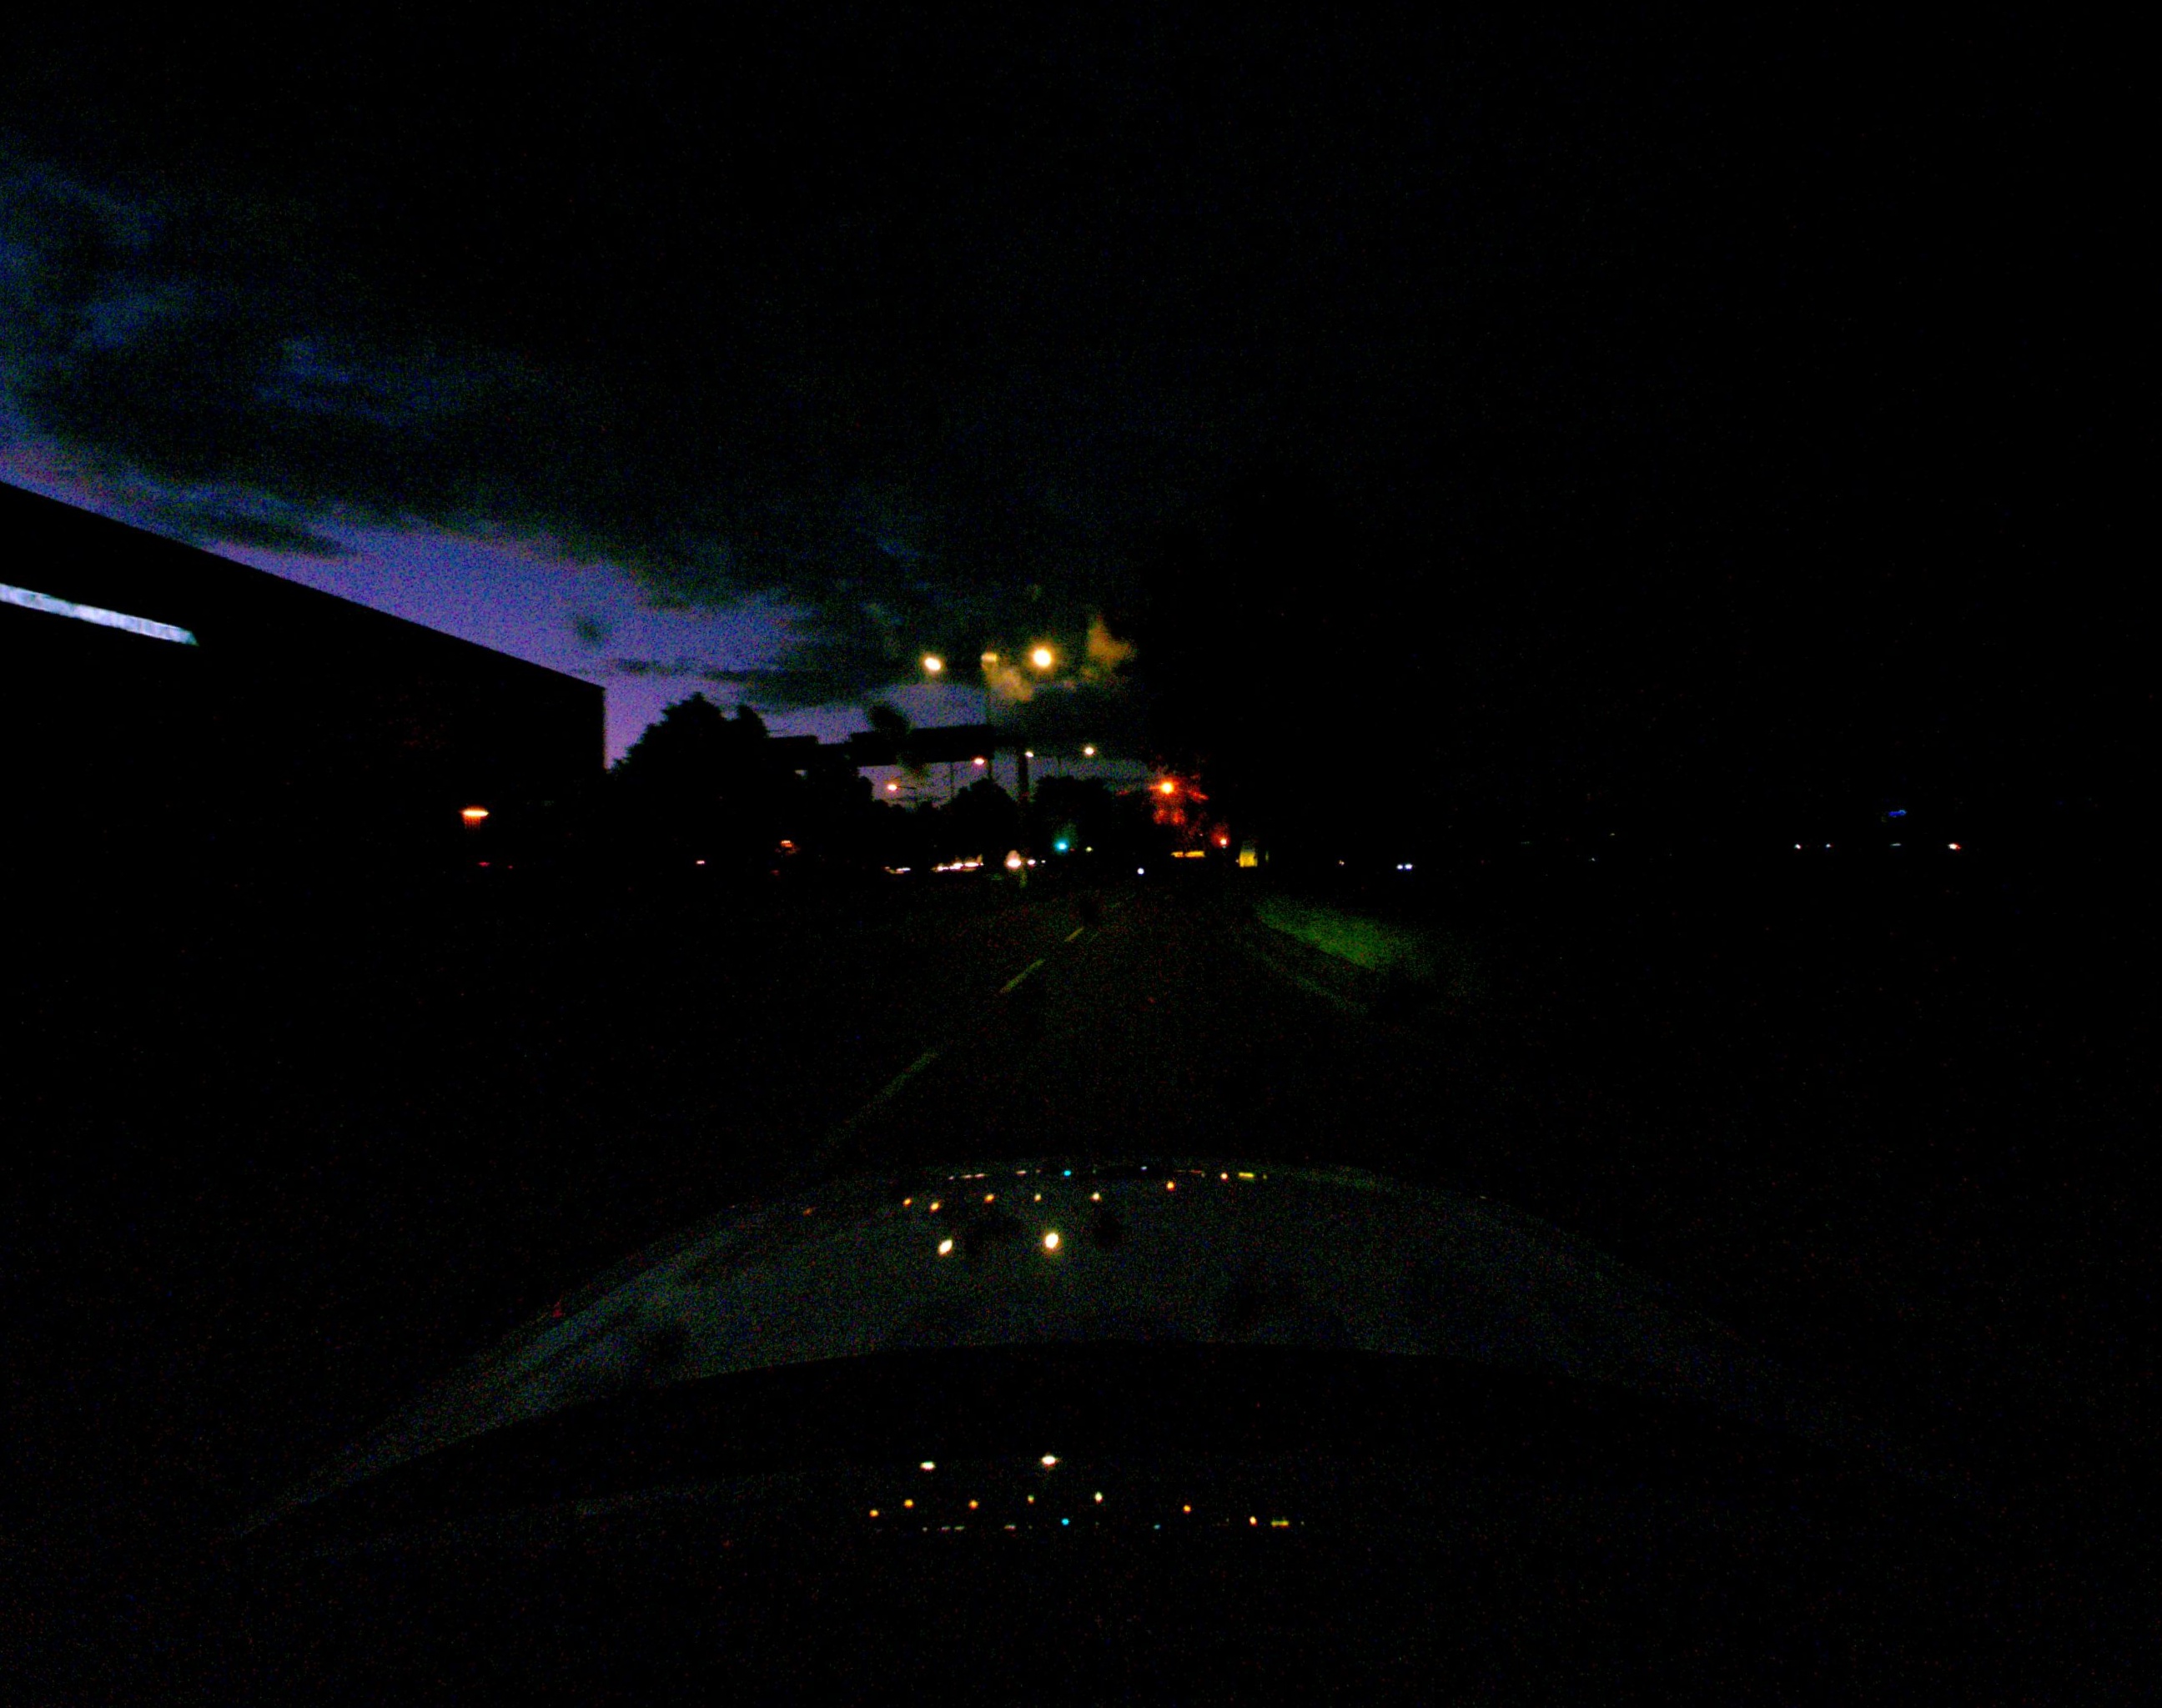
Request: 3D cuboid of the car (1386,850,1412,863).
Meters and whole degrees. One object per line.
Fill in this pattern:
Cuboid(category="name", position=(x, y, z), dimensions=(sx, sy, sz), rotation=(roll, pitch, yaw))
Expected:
Cuboid(category="car", position=(50.831, 0.364, 130.094), dimensions=(4.019, 2.013, 1.978), rotation=(-3, 2, -37))
